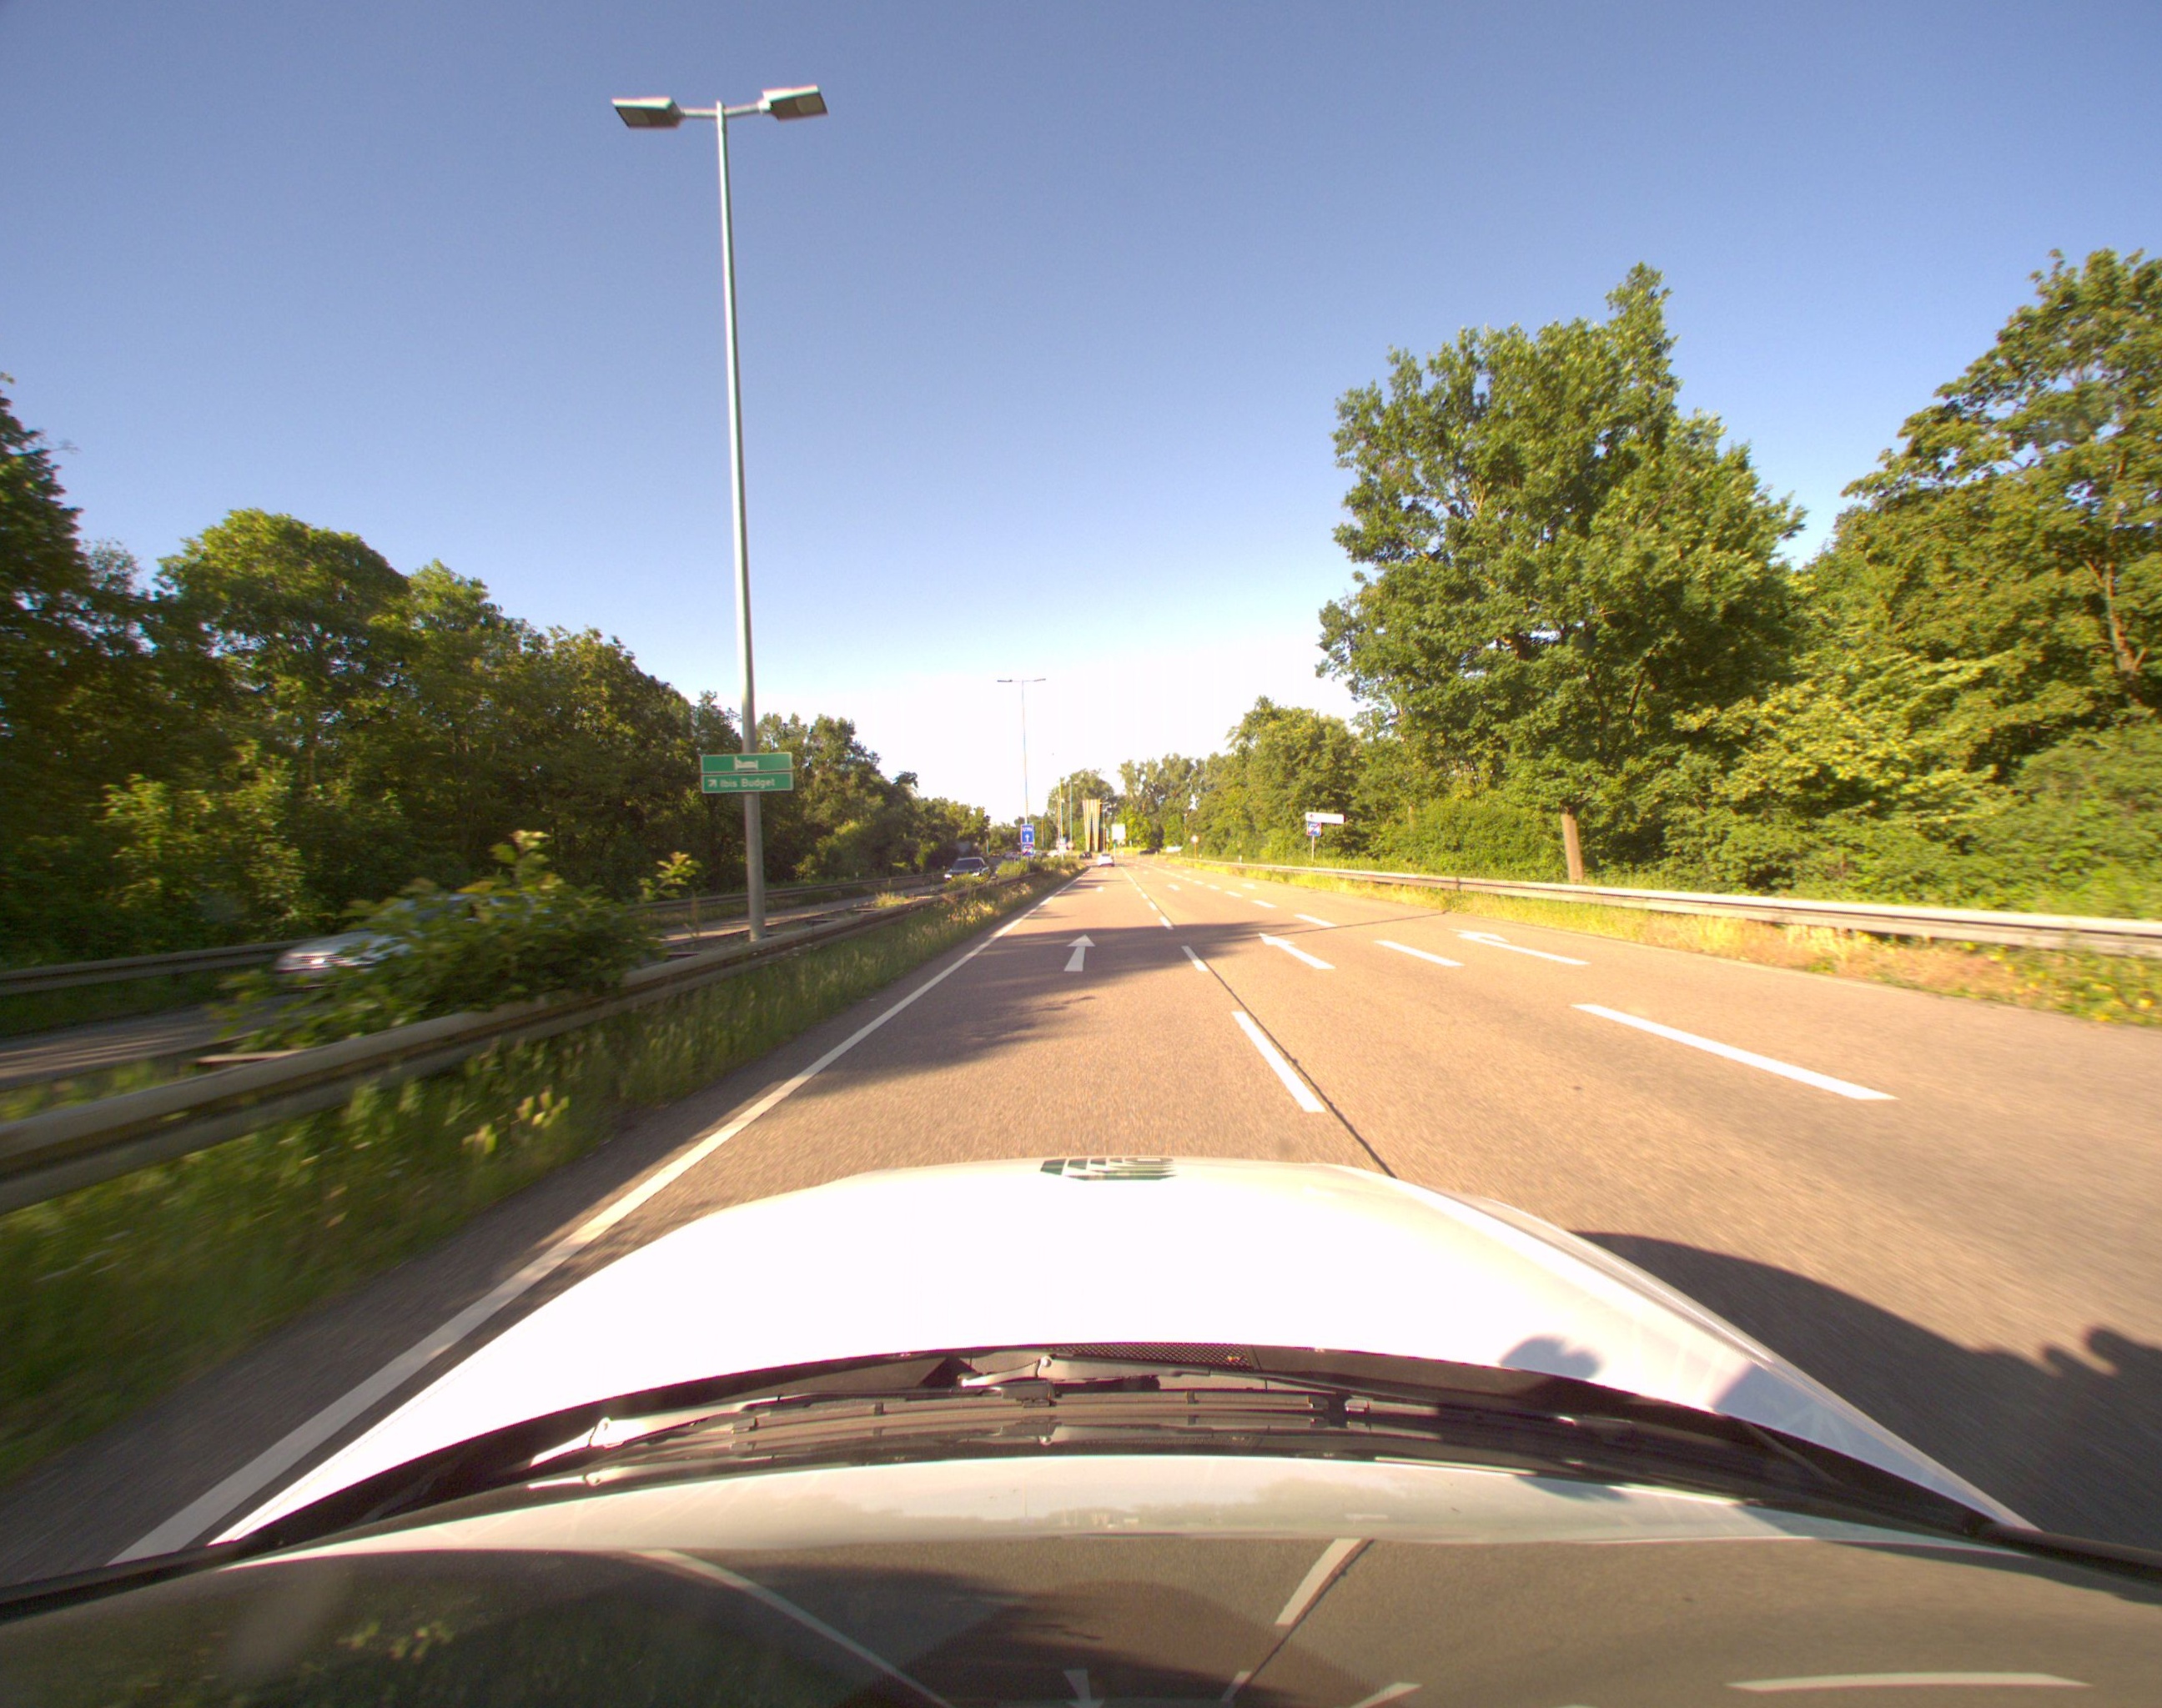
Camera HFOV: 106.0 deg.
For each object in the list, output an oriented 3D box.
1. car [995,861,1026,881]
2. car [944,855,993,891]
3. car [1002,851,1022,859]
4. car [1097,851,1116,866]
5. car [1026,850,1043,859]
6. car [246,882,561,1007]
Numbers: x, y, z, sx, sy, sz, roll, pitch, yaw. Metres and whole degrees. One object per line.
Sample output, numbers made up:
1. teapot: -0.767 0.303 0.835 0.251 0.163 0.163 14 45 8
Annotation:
1. car: -5.304 1.254 61.556 1.766 1.356 4.464 -2 0 2
2. car: -5.851 0.943 42.892 1.778 1.710 4.549 -2 0 2
3. car: -14.723 0.313 173.365 3.950 1.508 2.287 -3 0 44
4. car: 3.012 0.549 96.772 1.987 1.640 4.128 -3 1 0
5. car: -9.423 0.133 164.902 1.978 1.698 3.969 -3 1 -23
6. car: -10.467 1.305 13.009 1.744 1.450 3.716 -4 0 2
